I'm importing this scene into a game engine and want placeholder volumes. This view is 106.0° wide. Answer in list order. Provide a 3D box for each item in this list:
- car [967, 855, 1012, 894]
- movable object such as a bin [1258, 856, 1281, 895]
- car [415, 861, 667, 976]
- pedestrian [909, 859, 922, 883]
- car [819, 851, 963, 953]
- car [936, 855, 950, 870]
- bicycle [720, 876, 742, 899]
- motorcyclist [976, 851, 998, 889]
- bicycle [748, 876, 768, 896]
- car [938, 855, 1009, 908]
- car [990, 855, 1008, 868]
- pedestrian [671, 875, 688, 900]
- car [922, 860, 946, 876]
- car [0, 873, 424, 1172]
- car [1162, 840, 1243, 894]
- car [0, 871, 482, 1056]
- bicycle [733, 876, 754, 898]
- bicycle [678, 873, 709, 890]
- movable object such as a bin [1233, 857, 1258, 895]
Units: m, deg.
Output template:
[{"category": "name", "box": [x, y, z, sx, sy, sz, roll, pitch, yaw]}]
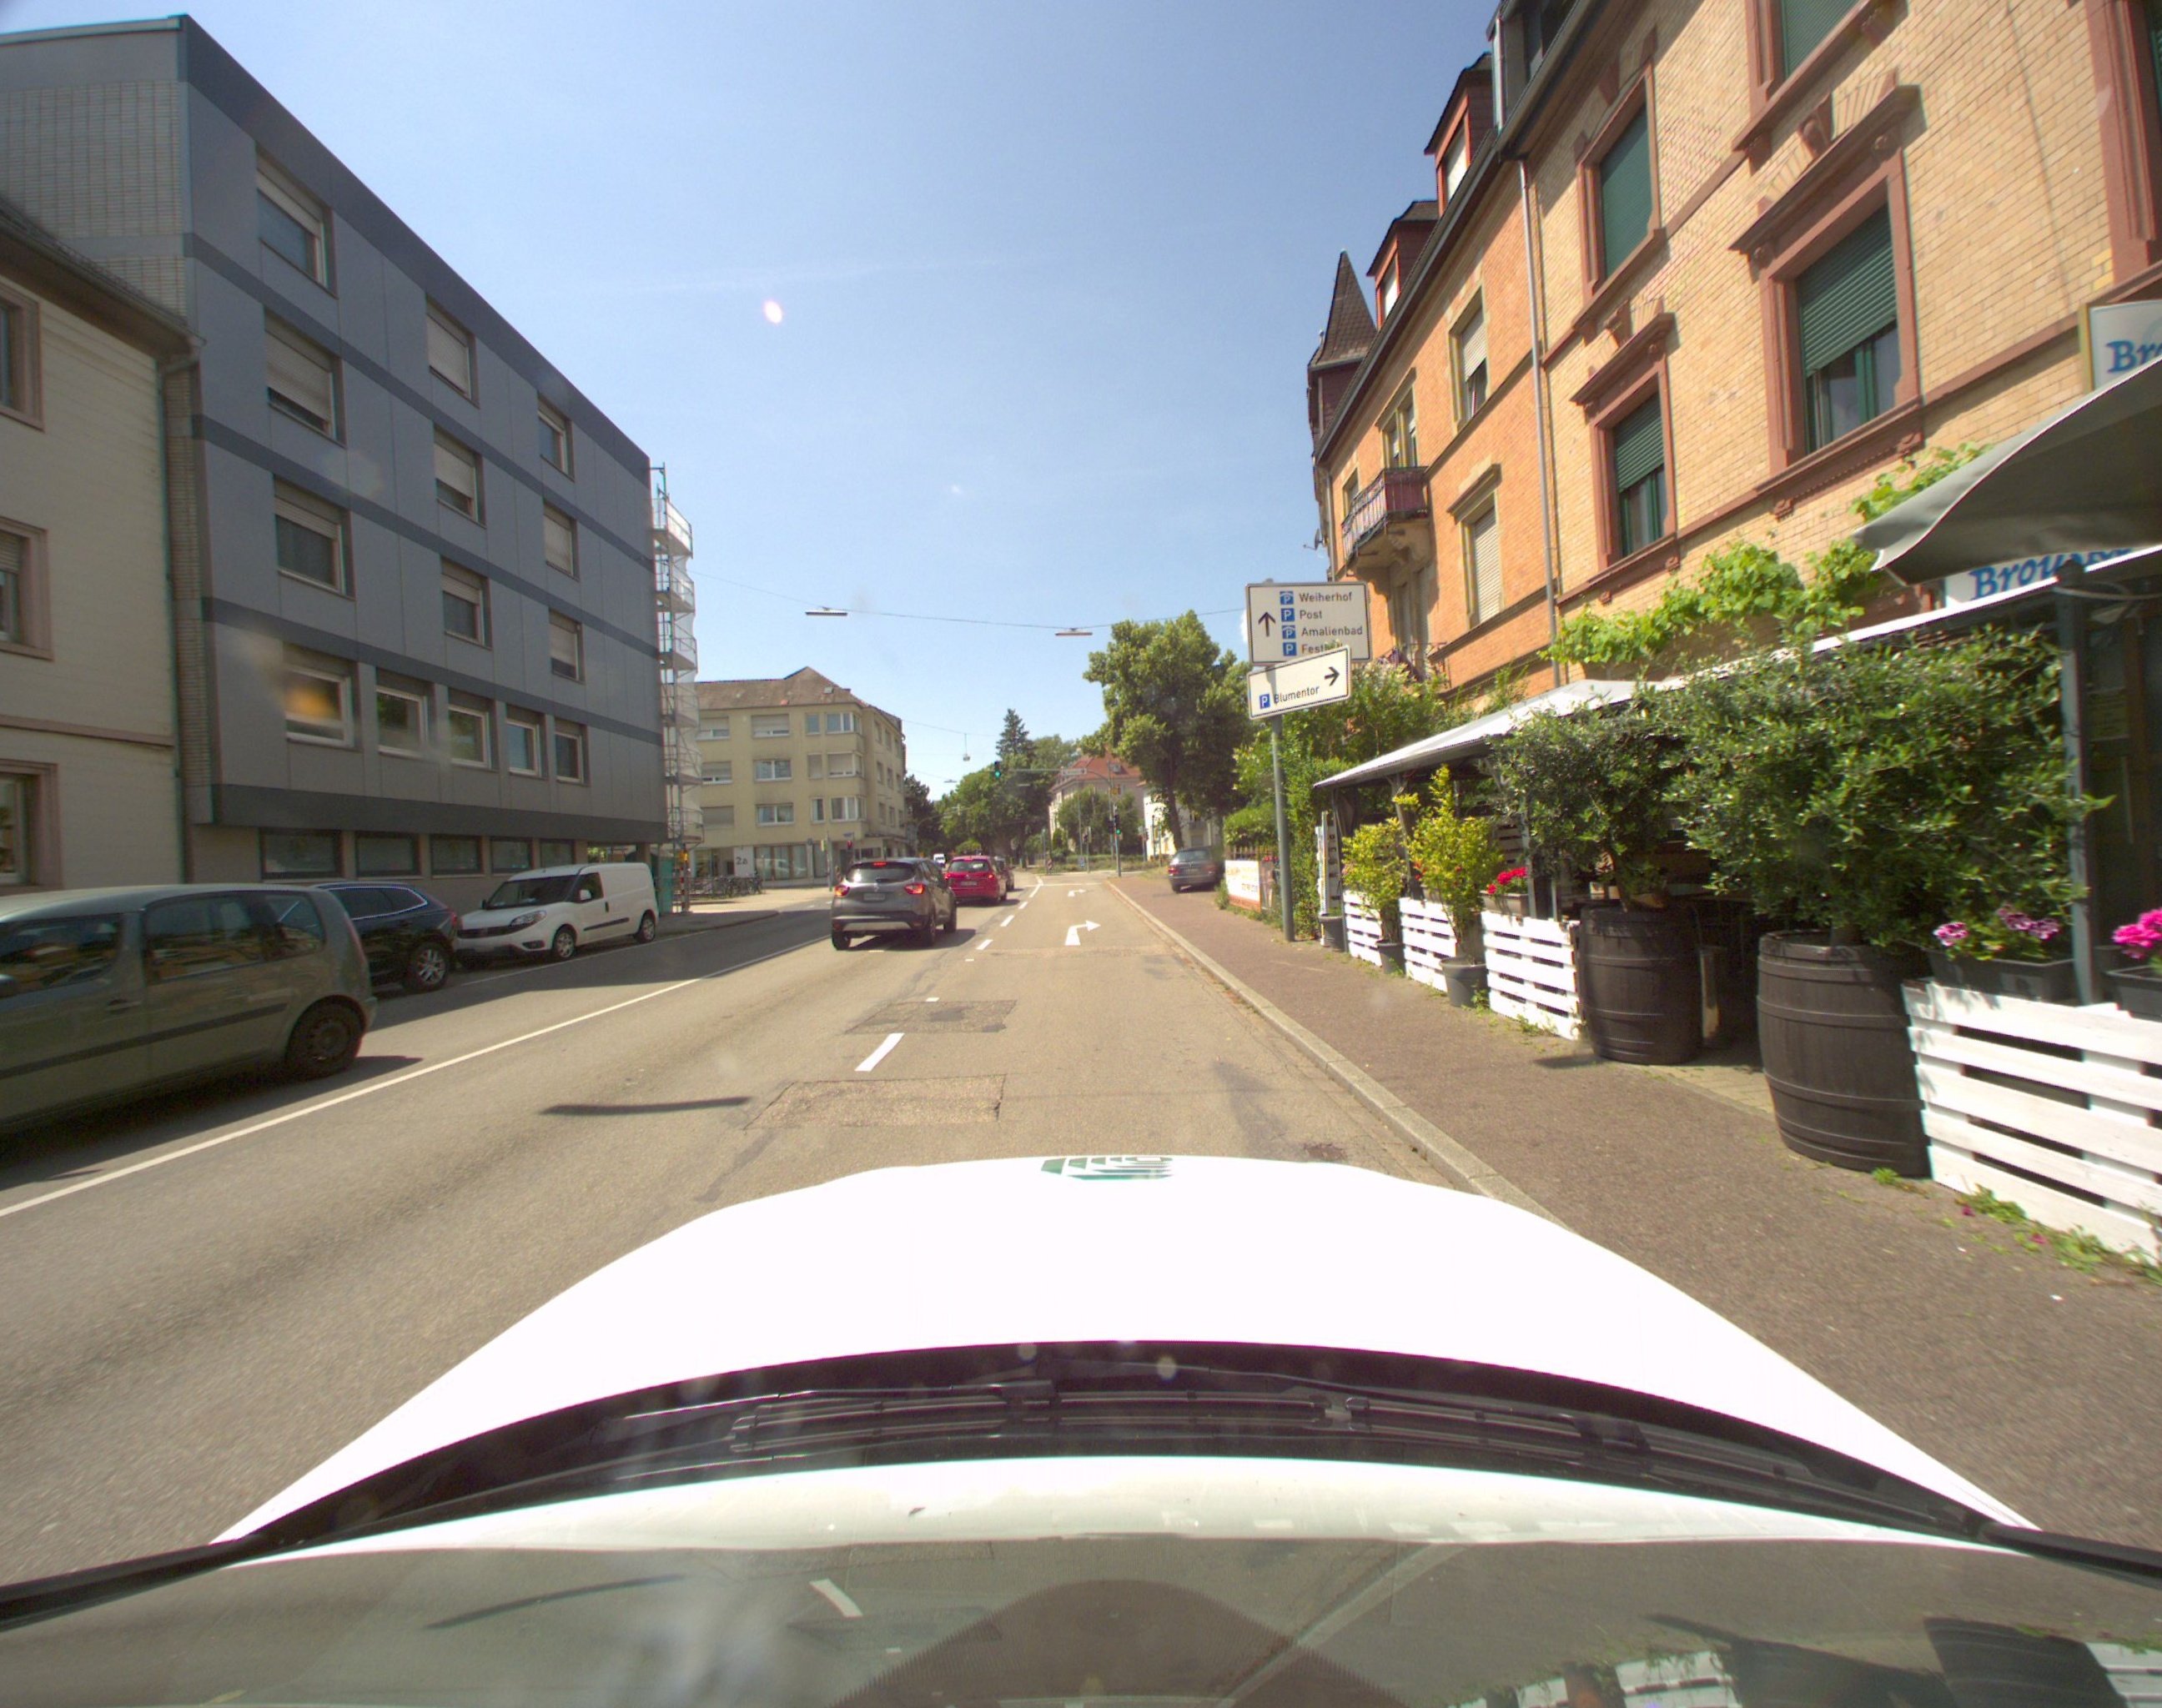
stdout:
[{"category": "car", "box": [-4.056, 0.895, 36.527, 1.796, 1.558, 4.030, -3, 0, -5]}, {"category": "movable object such as a bin", "box": [5.494, 0.617, 23.740, 0.548, 1.071, 0.707, -3, 0, 9]}, {"category": "car", "box": [-10.540, 1.133, 16.458, 1.909, 1.825, 4.784, -4, 0, -2]}, {"category": "pedestrian", "box": [-13.809, 1.451, 68.073, 0.936, 1.931, 0.972, -3, -1, -13]}, {"category": "car", "box": [-3.469, 0.798, 15.612, 1.748, 1.632, 3.999, -2, 0, 0]}, {"category": "car", "box": [-25.361, 1.593, 149.575, 2.217, 2.501, 7.526, -6, 0, -10]}, {"category": "bicycle", "box": [-16.333, 1.546, 38.020, 0.396, 0.967, 1.715, -2, 0, -5]}, {"category": "motorcyclist", "box": [-3.669, 0.606, 31.823, 0.709, 1.445, 1.018, -3, 0, -2]}, {"category": "bicycle", "box": [-16.643, 1.654, 41.995, 0.396, 0.967, 1.780, -2, 0, -5]}, {"category": "car", "box": [-3.453, 0.845, 26.903, 1.793, 1.558, 4.035, -2, 0, -1]}, {"category": "car", "box": [-12.087, 1.126, 119.620, 1.996, 1.807, 3.982, -2, 0, -13]}, {"category": "pedestrian", "box": [-25.305, 2.101, 51.356, 0.684, 1.475, 0.648, -3, 0, -1]}, {"category": "car", "box": [-14.277, 1.370, 79.054, 1.997, 1.519, 3.980, -2, -1, -14]}, {"category": "car", "box": [-6.786, 1.005, 5.139, 1.696, 1.574, 4.311, -4, 0, 0]}, {"category": "car", "box": [4.425, 0.385, 28.917, 1.819, 1.548, 5.182, -4, 1, 19]}, {"category": "car", "box": [-10.184, 1.127, 10.224, 1.880, 1.641, 4.659, -4, 0, -2]}, {"category": "bicycle", "box": [-16.521, 1.605, 39.884, 0.396, 0.967, 1.743, -2, 0, -5]}, {"category": "bicycle", "box": [-25.513, 1.836, 53.580, 1.733, 1.026, 0.498, -2, 0, -3]}, {"category": "movable object such as a bin", "box": [4.808, 0.643, 23.847, 0.645, 1.071, 0.638, -3, 0, 9]}]
